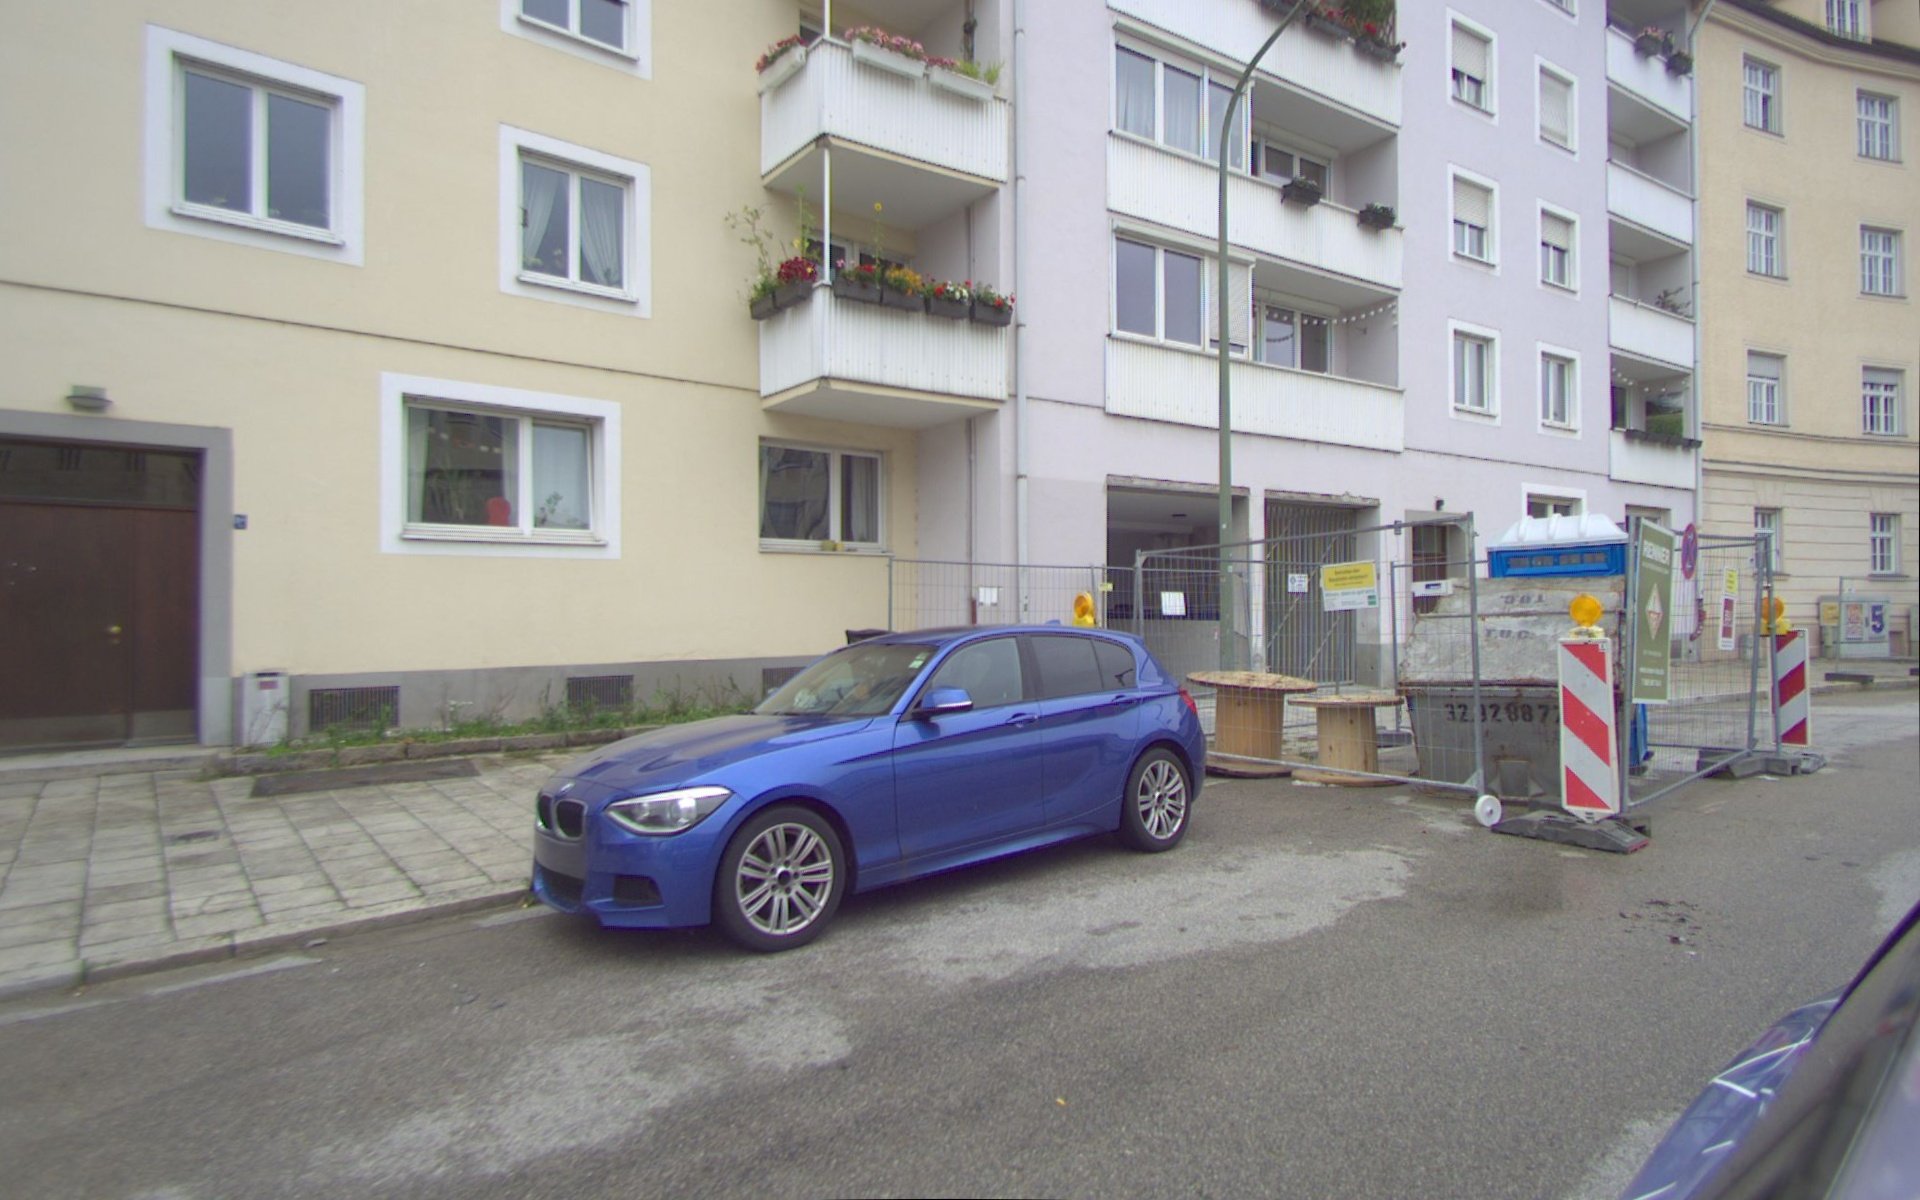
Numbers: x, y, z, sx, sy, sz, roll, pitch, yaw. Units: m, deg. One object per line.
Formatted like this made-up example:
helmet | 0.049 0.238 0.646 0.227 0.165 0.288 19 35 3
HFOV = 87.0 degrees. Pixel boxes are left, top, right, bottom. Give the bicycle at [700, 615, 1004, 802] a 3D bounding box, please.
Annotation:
bicycle | -0.858 0.839 8.899 2.728 1.339 0.811 -1 1 -43

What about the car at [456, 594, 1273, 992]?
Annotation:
car | -0.253 0.757 5.928 4.547 1.461 1.833 0 -3 -41
